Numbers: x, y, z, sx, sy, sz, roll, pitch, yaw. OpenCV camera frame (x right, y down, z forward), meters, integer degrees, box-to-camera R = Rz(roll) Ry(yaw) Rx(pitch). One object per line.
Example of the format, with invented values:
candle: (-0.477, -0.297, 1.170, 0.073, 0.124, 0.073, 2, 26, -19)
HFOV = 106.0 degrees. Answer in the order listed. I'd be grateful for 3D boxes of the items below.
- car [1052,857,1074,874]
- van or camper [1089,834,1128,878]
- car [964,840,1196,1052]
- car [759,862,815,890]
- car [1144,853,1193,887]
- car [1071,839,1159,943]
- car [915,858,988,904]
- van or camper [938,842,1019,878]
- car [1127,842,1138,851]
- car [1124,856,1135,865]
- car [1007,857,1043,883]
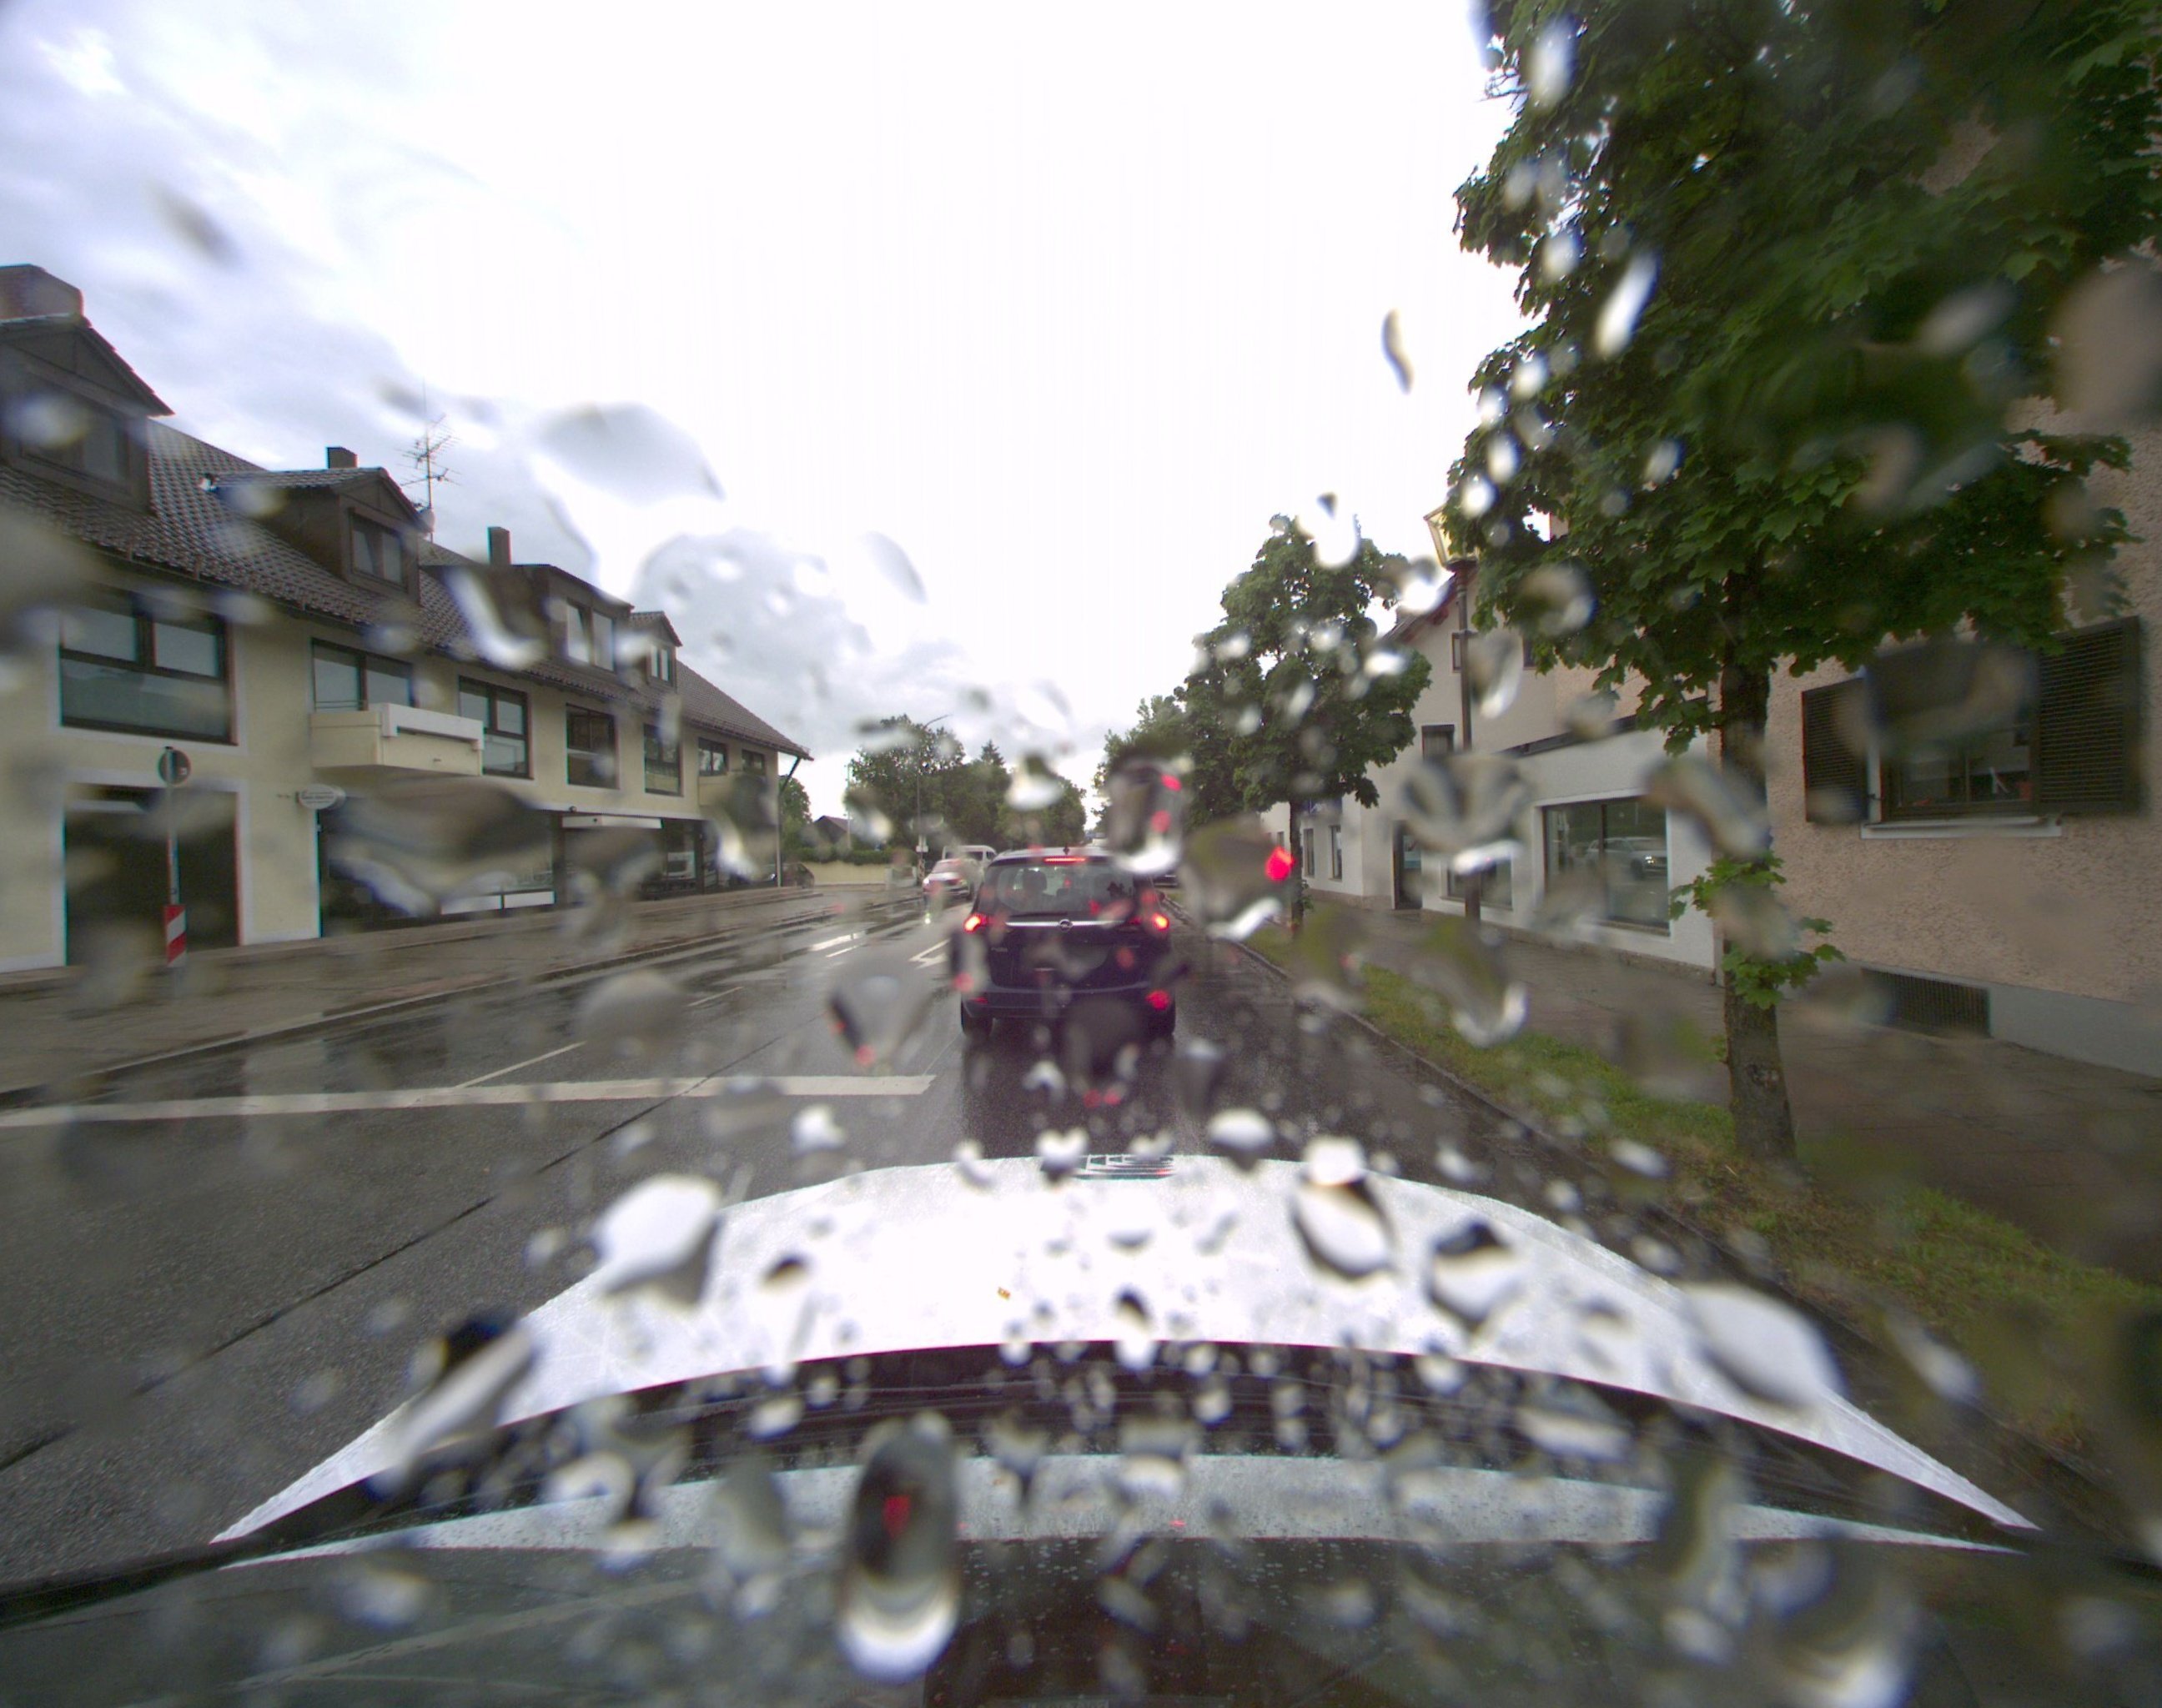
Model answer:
car: (-1.667, 1.069, 77.411, 1.745, 1.511, 4.233, -3, 0, 3)
van or camper: (1.823, 0.135, 53.558, 2.351, 2.665, 5.374, -2, 0, 2)
car: (0.054, 0.705, 8.036, 1.762, 1.604, 3.665, 0, 0, 2)
car: (-15.897, 1.173, 44.187, 1.601, 1.380, 3.510, -3, 0, 2)
car: (4.272, 0.772, 40.292, 2.110, 1.581, 3.936, 0, 0, 1)
car: (0.631, 0.641, 15.467, 1.494, 1.776, 3.113, 0, 0, 2)
car: (-4.895, 0.993, 31.297, 1.960, 1.563, 4.153, -3, 0, 2)
van or camper: (-8.239, 0.474, 65.734, 6.231, 2.707, 2.099, -2, 0, -2)
car: (8.774, -1.313, 138.401, 1.624, 1.378, 3.624, -2, 0, 2)
car: (7.615, 1.094, 128.951, 1.624, 1.378, 3.624, 0, -1, 2)
car: (-3.591, 1.030, 53.052, 1.920, 1.566, 4.127, -2, 0, 1)
